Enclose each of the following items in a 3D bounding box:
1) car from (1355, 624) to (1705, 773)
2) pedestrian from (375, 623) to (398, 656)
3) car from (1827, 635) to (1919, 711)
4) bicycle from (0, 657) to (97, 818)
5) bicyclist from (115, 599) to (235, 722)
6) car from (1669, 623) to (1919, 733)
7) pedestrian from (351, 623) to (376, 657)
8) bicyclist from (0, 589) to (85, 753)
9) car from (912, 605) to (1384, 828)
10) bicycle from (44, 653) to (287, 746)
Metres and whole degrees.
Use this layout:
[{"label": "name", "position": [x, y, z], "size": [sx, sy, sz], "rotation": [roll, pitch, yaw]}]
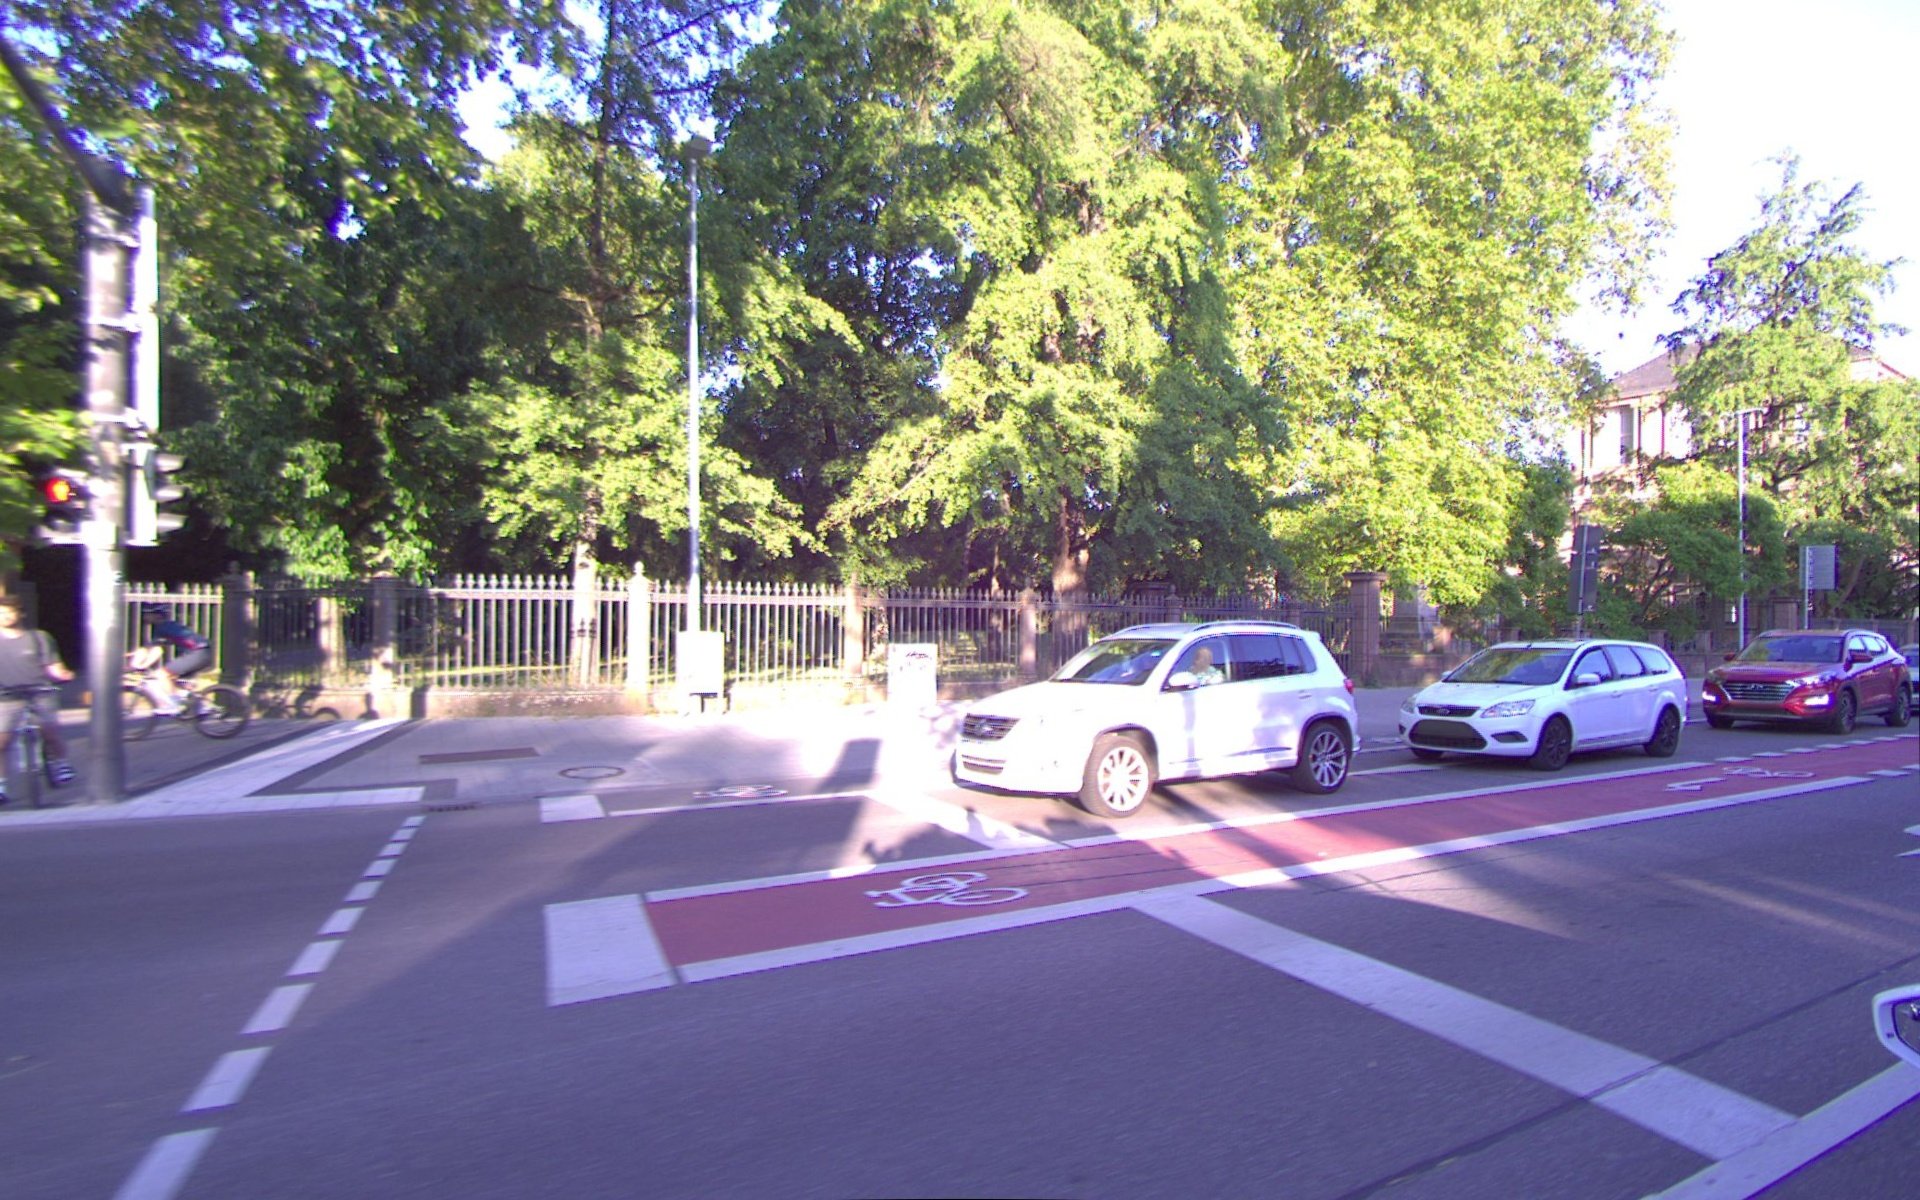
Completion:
[{"label": "car", "position": [7.362, 1.150, 12.857], "size": [4.622, 1.604, 1.907], "rotation": [1, -3, -32]}, {"label": "pedestrian", "position": [-29.658, 2.056, 51.960], "size": [0.892, 1.682, 0.870], "rotation": [1, -1, -21]}, {"label": "car", "position": [19.978, 1.453, 20.670], "size": [4.716, 1.436, 1.907], "rotation": [1, -3, -32]}, {"label": "bicycle", "position": [-8.263, 1.157, 8.817], "size": [0.565, 1.245, 1.623], "rotation": [1, -1, -23]}, {"label": "bicyclist", "position": [-9.649, 0.730, 12.397], "size": [0.929, 1.450, 0.854], "rotation": [1, -1, -21]}, {"label": "car", "position": [14.245, 1.258, 17.090], "size": [4.587, 1.646, 1.907], "rotation": [1, -3, -32]}, {"label": "pedestrian", "position": [-30.557, 2.041, 51.466], "size": [0.892, 1.682, 0.870], "rotation": [1, -1, -21]}, {"label": "bicyclist", "position": [-8.244, 0.603, 8.844], "size": [0.565, 1.379, 0.834], "rotation": [1, -1, -24]}, {"label": "car", "position": [1.901, 0.988, 9.755], "size": [4.377, 1.717, 1.907], "rotation": [1, -3, -32]}, {"label": "bicycle", "position": [-9.678, 1.185, 12.357], "size": [2.165, 1.029, 0.854], "rotation": [1, -1, -22]}]
